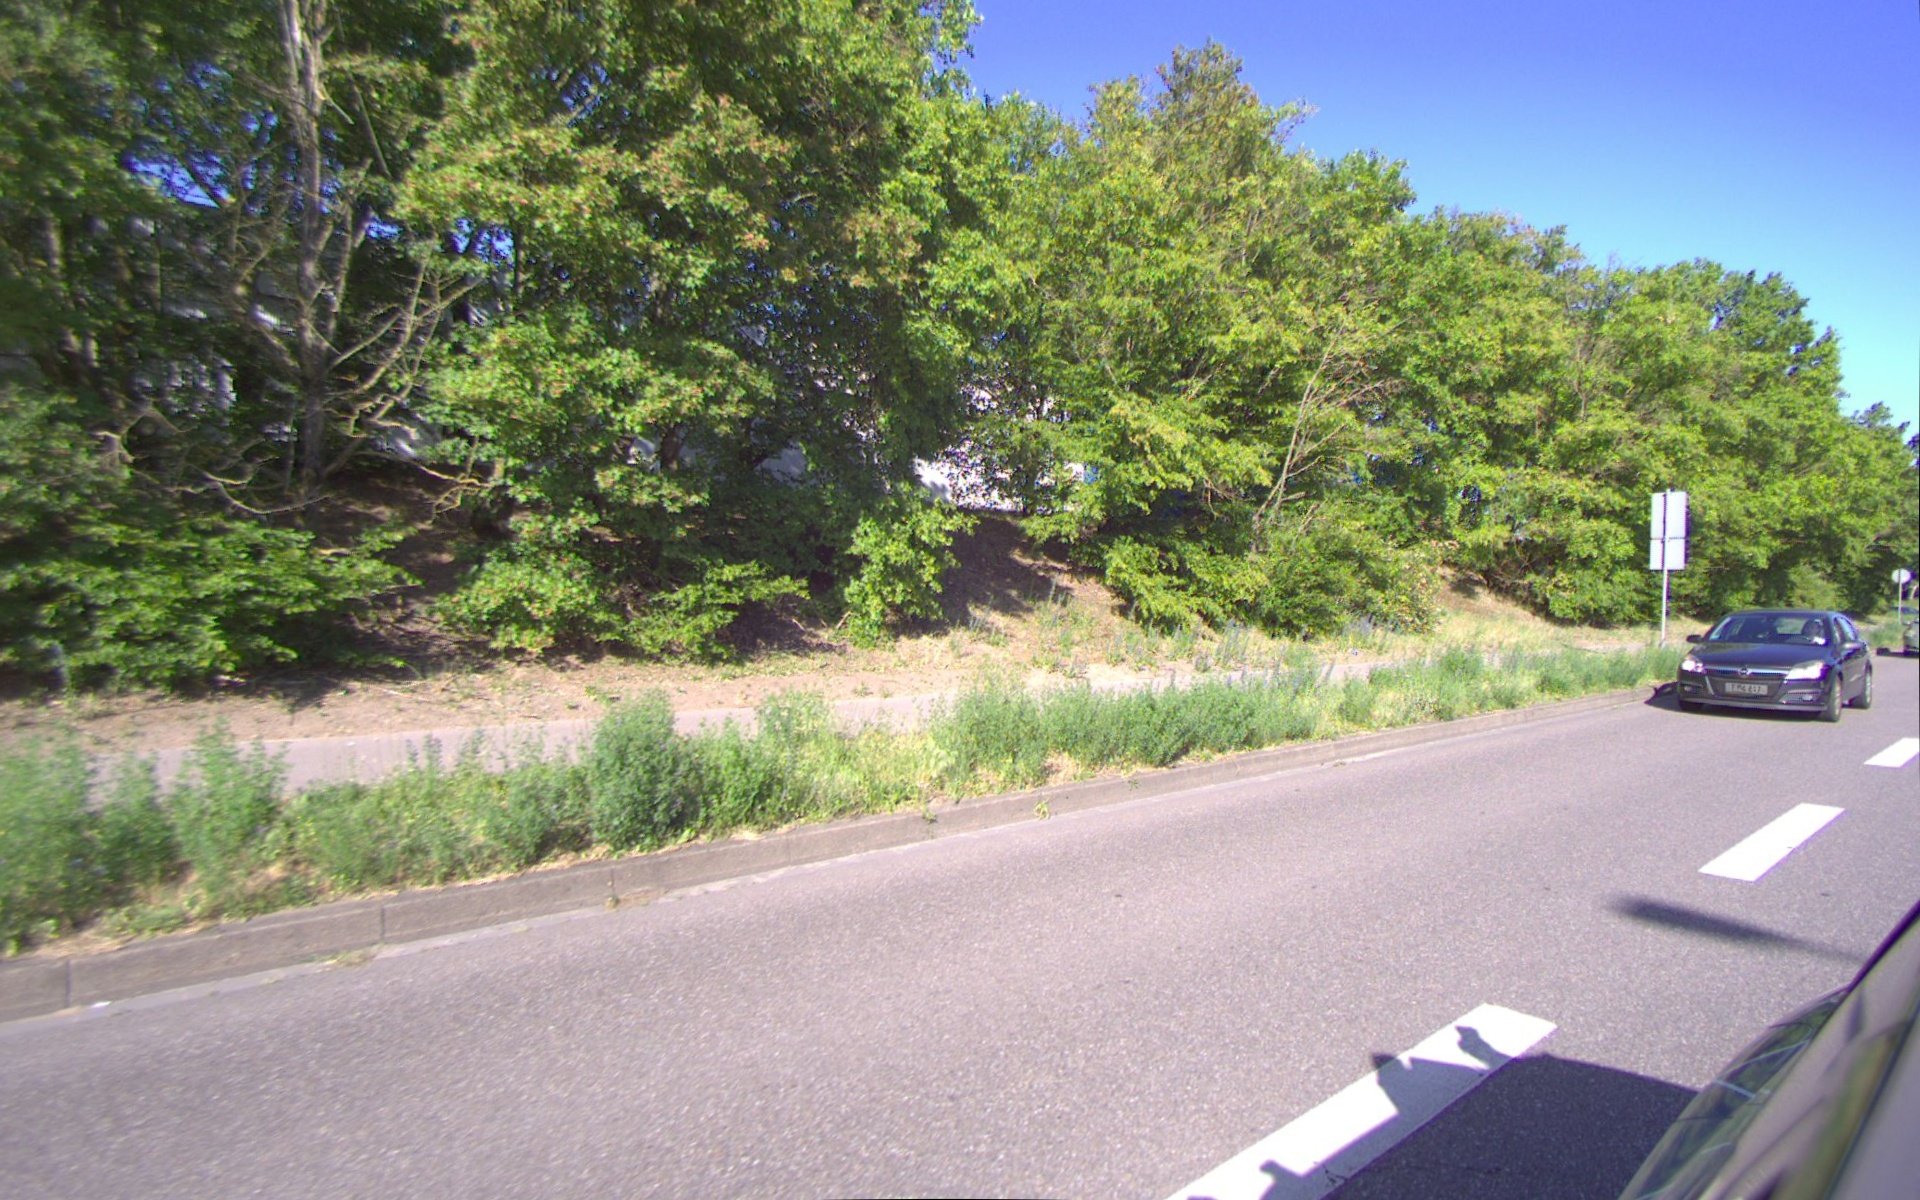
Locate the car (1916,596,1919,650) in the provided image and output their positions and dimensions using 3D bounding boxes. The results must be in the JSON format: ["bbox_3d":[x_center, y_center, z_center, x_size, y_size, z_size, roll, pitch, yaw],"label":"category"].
[{"bbox_3d":[29.534,0.687,29.626,3.971,1.556,1.826,0,1,-41],"label":"car"}]

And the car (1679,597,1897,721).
[{"bbox_3d":[11.751,0.720,14.282,3.889,1.473,1.706,0,1,-41],"label":"car"}]
